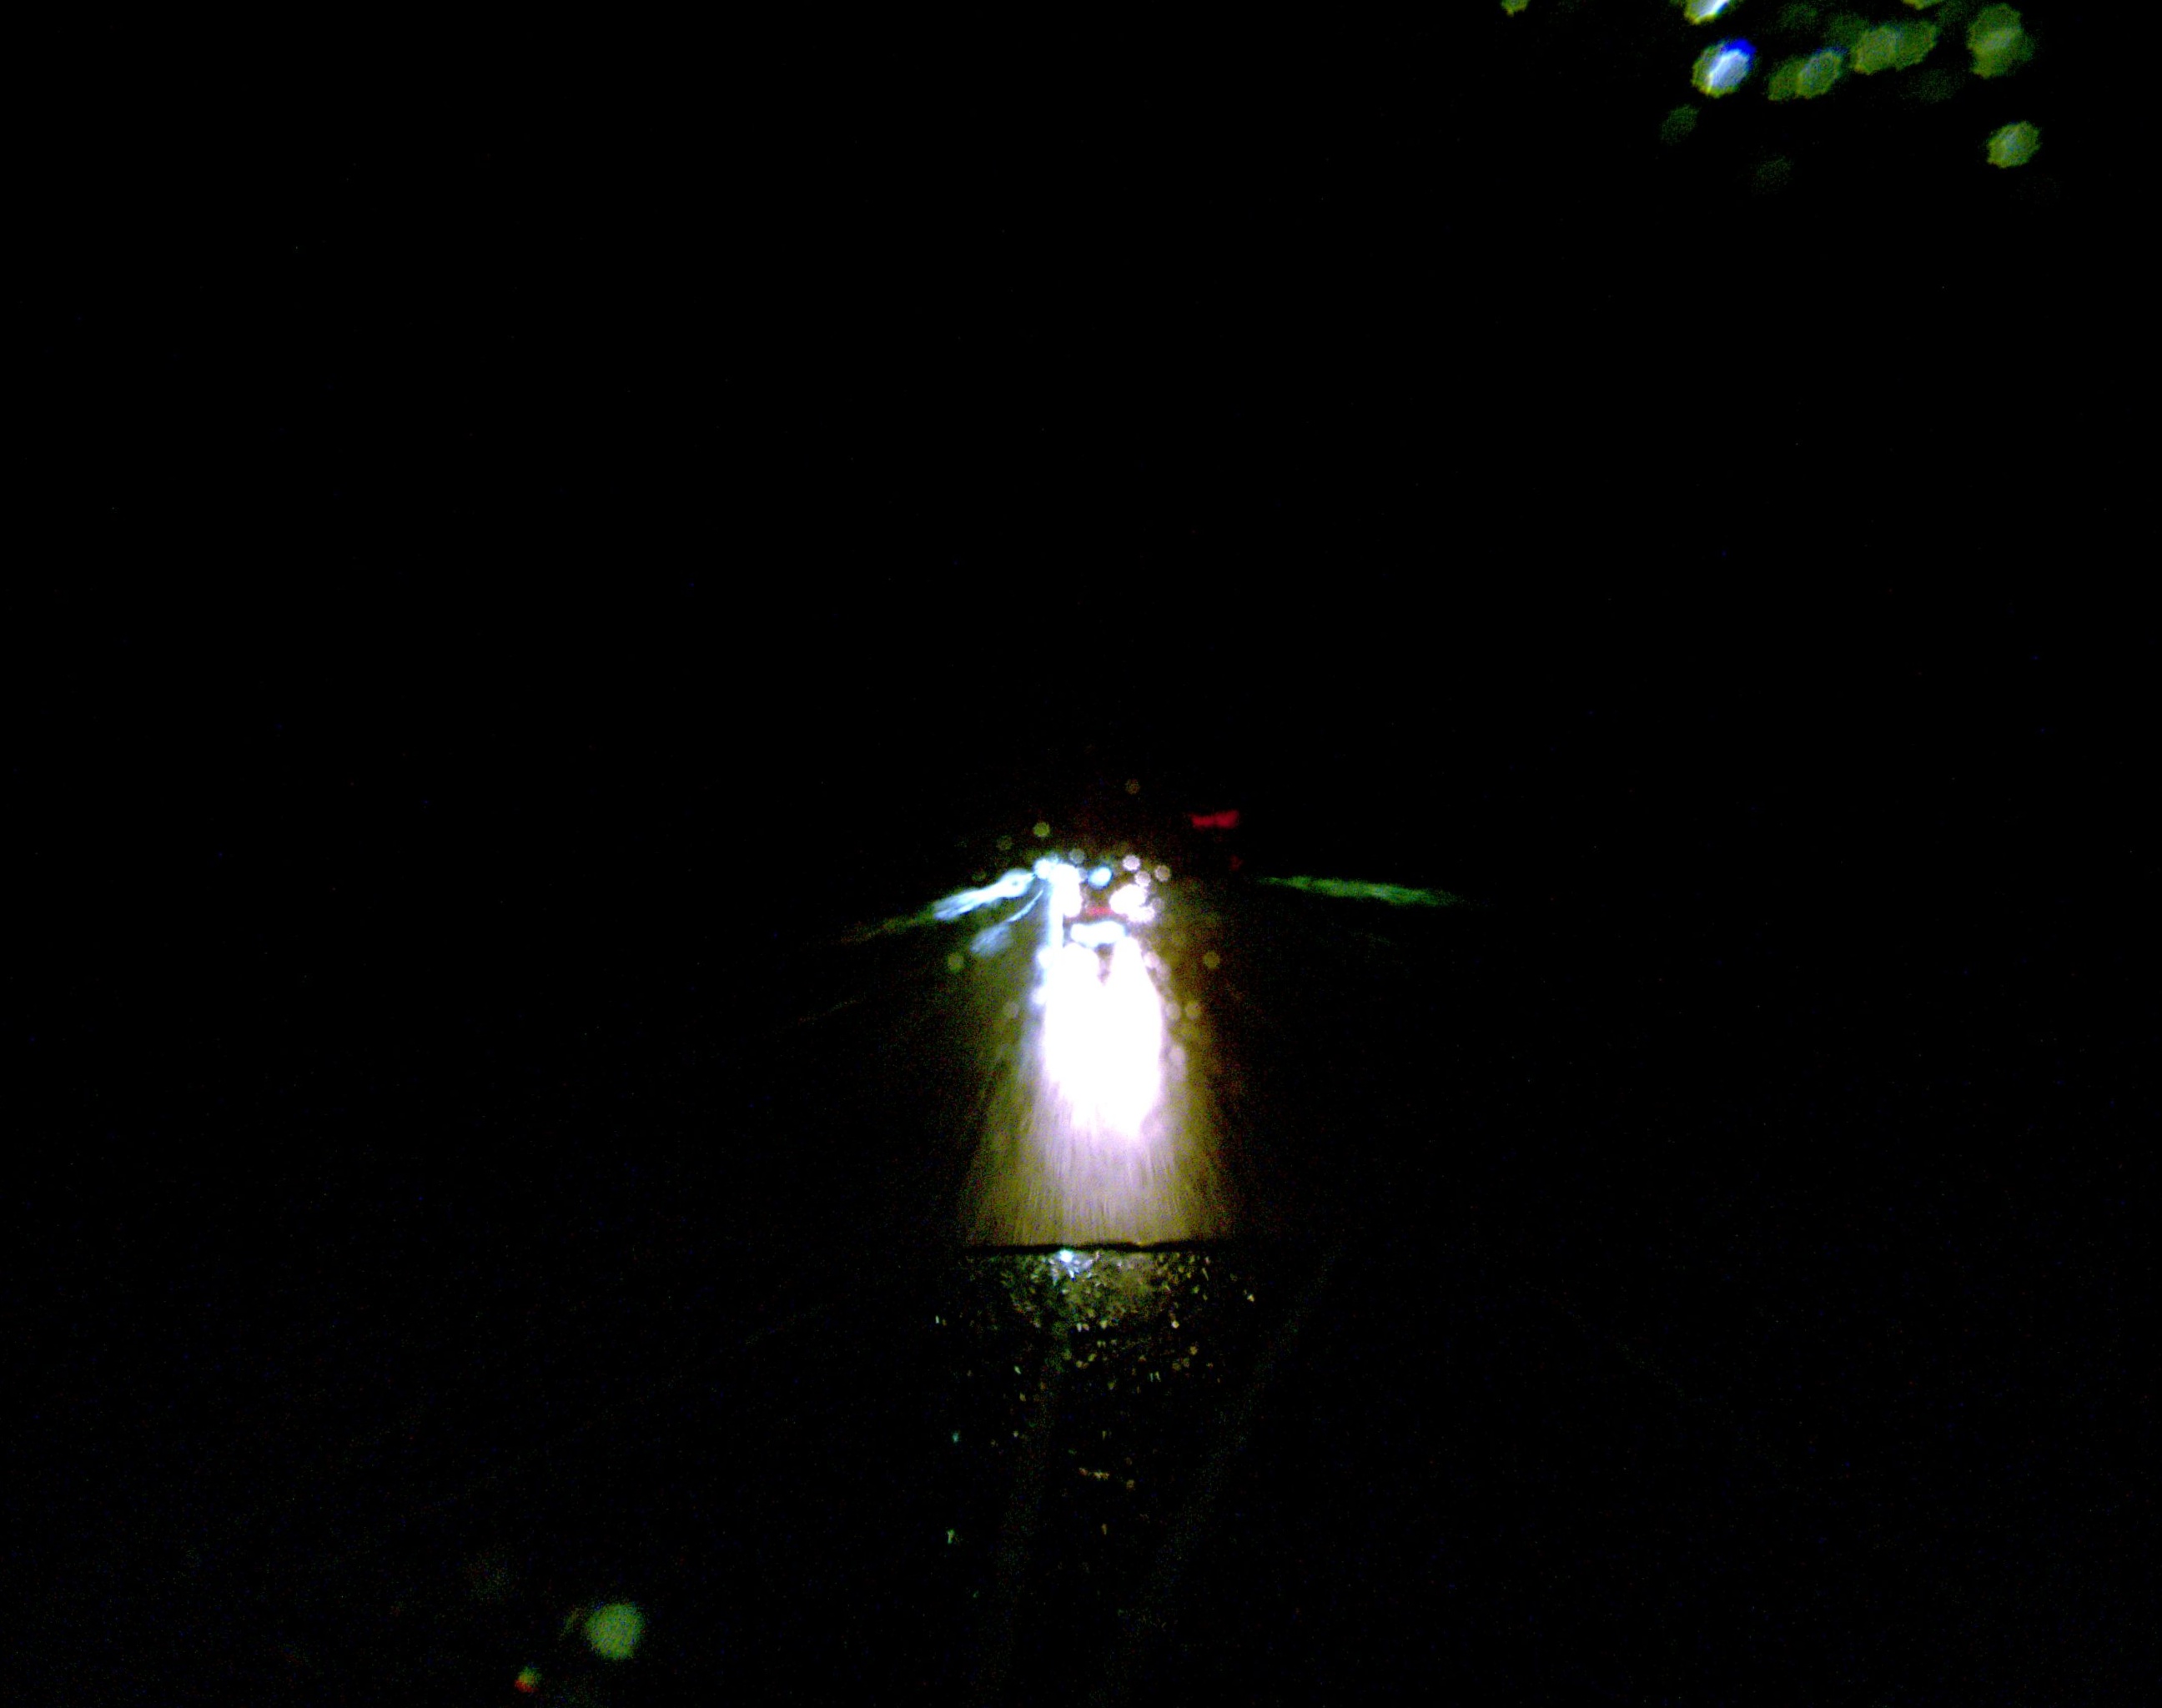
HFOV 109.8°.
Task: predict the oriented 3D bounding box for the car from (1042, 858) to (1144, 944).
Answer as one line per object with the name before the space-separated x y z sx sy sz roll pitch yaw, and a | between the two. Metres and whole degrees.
car | 0.353 0.906 16.408 1.849 1.441 4.000 -3 1 4

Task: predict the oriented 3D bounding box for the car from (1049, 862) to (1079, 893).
car | -1.087 1.498 48.946 1.784 1.696 3.999 -3 1 -1

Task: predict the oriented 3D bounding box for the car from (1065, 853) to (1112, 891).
car | 0.401 0.783 34.562 1.848 1.441 3.875 -3 1 4
